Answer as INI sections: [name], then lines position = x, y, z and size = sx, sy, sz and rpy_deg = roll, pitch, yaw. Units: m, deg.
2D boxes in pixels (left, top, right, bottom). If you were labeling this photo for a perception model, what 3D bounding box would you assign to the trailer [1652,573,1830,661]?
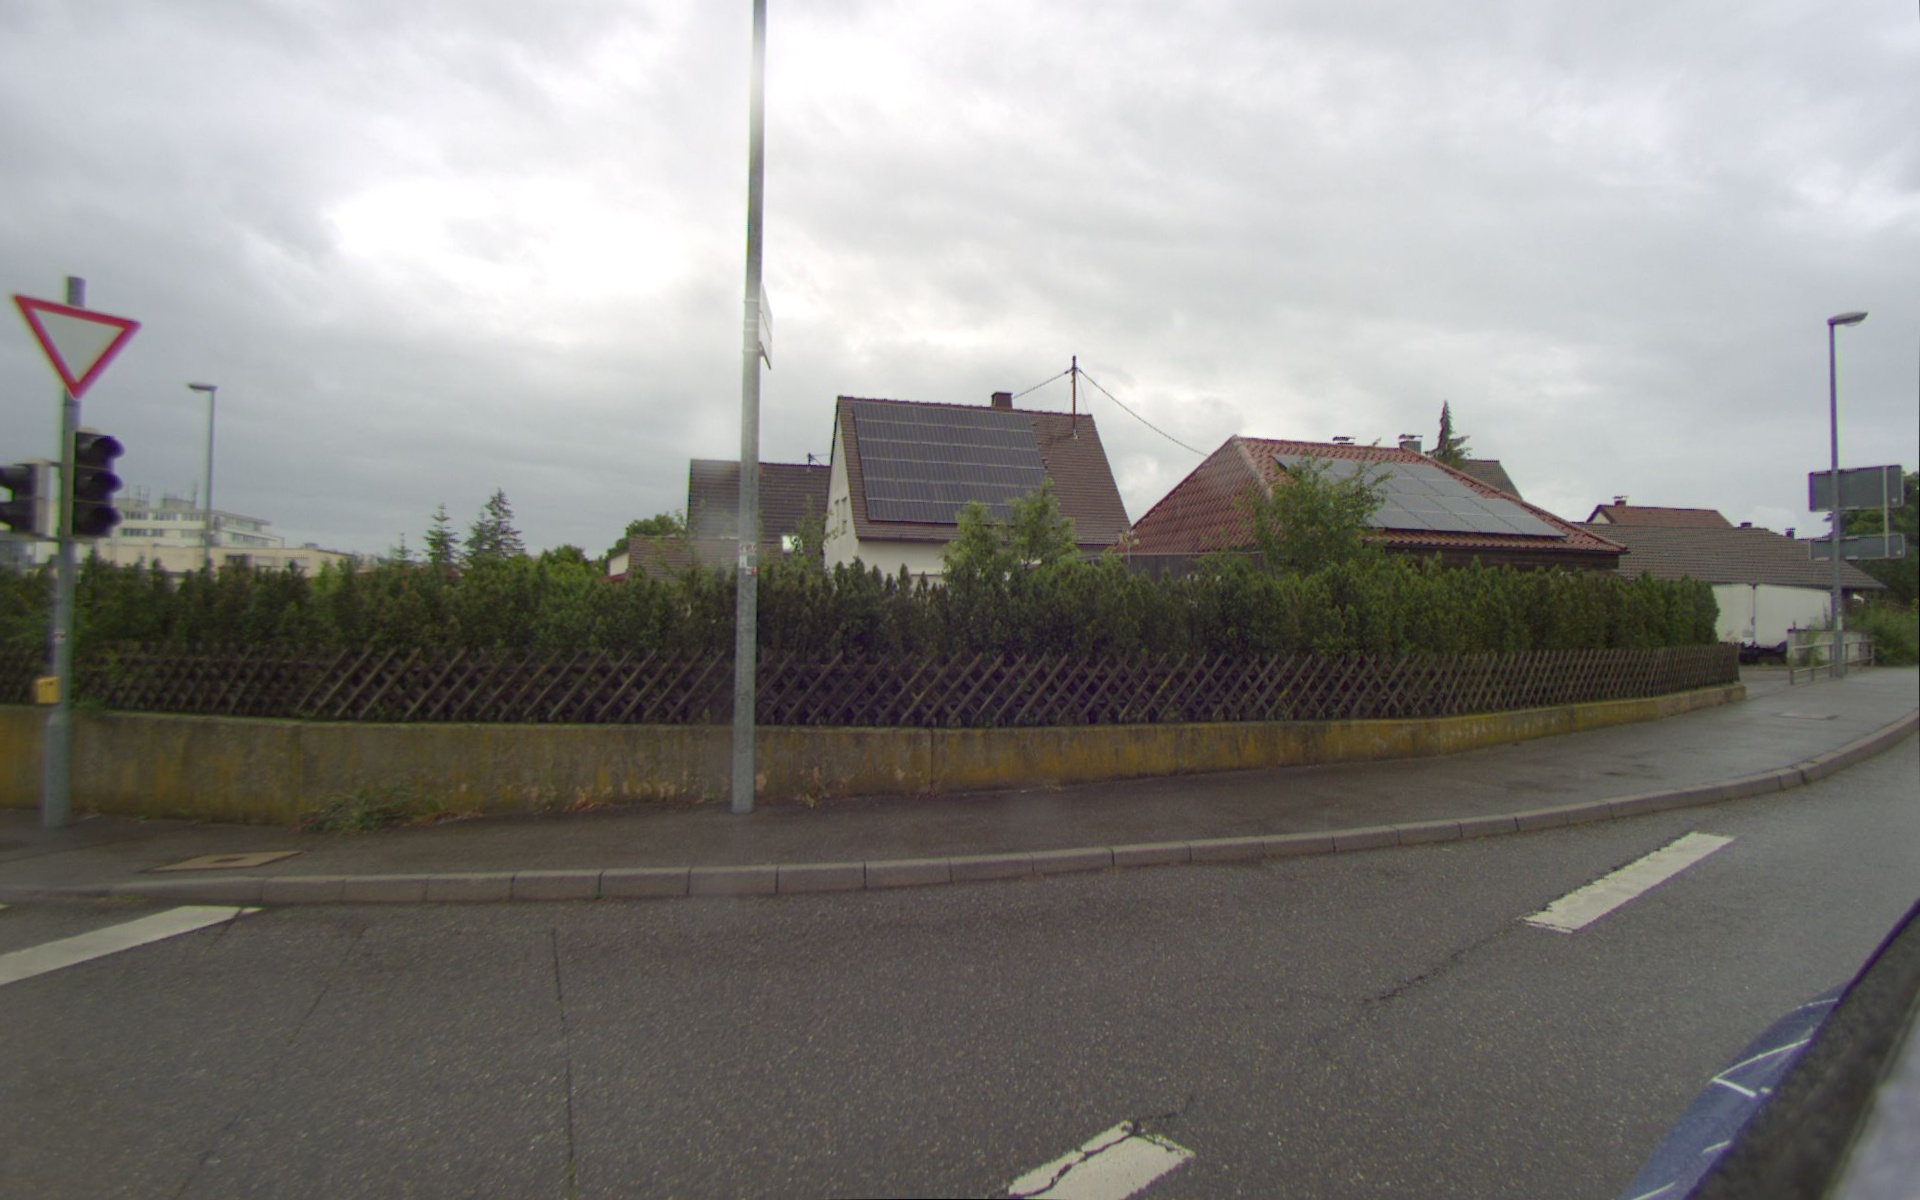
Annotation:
[trailer]
position = 23.715, 0.528, 30.761
size = 4.605, 2.550, 1.652
rpy_deg = 0, -2, -13
